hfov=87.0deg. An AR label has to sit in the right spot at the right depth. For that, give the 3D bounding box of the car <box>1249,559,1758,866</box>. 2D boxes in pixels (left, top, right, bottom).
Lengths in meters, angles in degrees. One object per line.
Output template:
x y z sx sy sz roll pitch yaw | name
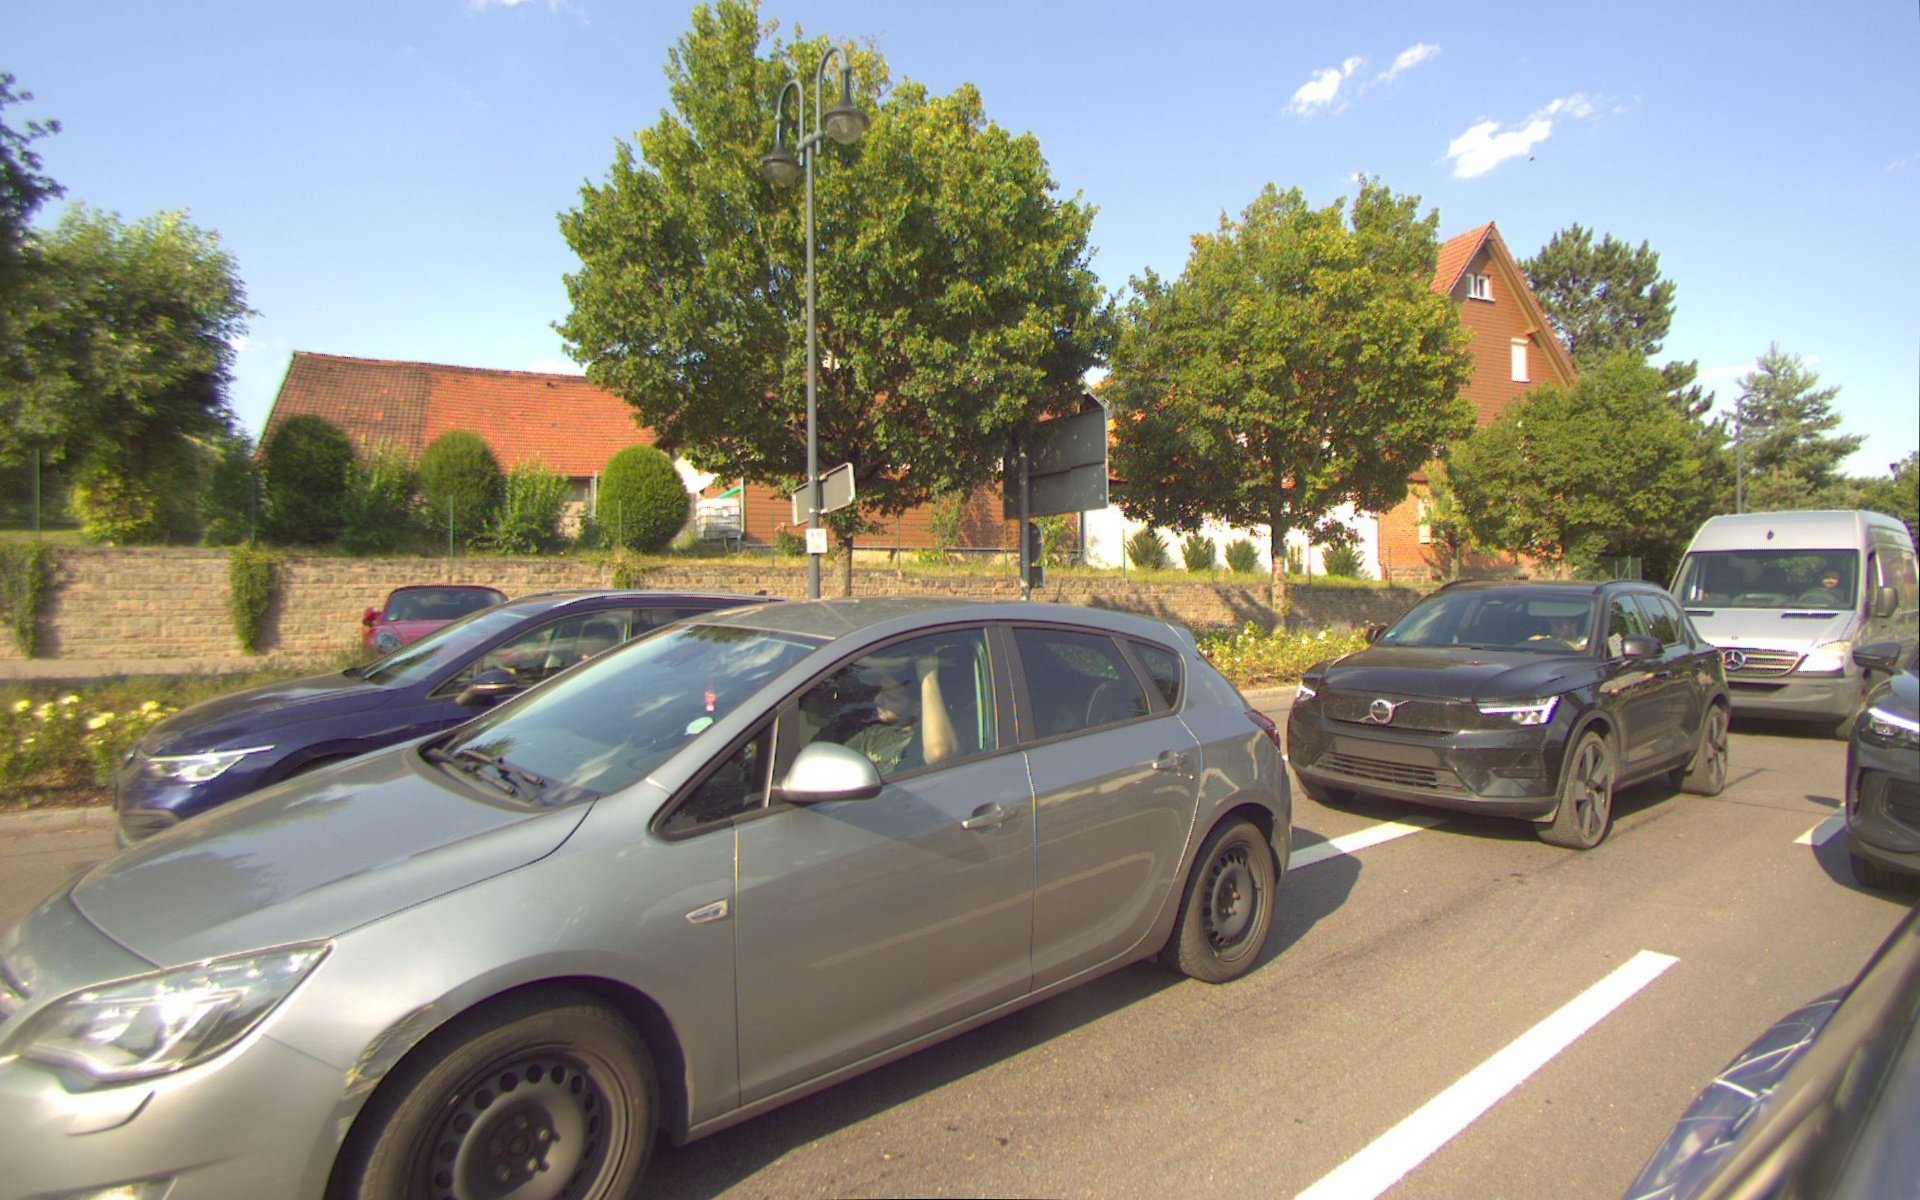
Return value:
4.162 0.565 7.446 4.242 1.629 1.844 0 2 -40 | car

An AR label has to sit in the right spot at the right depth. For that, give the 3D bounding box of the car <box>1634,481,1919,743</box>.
10.662 0.081 12.753 5.938 2.601 1.992 0 1 -40 | car

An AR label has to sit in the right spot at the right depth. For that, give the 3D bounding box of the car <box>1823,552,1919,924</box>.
6.215 0.616 5.331 4.242 1.629 1.844 0 2 -40 | car

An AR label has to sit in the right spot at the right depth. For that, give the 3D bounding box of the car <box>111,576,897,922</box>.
-2.619 0.622 6.449 4.244 1.471 1.765 0 2 -42 | car

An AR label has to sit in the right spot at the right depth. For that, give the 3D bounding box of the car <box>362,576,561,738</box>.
-5.895 0.524 11.708 1.743 1.510 4.156 0 0 -31 | car

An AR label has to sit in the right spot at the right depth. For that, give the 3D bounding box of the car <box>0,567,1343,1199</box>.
-0.557 0.664 3.517 4.244 1.471 1.765 0 2 -42 | car

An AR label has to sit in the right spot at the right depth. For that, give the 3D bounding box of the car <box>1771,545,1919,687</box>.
15.063 0.205 16.666 4.242 2.055 1.844 0 1 -40 | car
